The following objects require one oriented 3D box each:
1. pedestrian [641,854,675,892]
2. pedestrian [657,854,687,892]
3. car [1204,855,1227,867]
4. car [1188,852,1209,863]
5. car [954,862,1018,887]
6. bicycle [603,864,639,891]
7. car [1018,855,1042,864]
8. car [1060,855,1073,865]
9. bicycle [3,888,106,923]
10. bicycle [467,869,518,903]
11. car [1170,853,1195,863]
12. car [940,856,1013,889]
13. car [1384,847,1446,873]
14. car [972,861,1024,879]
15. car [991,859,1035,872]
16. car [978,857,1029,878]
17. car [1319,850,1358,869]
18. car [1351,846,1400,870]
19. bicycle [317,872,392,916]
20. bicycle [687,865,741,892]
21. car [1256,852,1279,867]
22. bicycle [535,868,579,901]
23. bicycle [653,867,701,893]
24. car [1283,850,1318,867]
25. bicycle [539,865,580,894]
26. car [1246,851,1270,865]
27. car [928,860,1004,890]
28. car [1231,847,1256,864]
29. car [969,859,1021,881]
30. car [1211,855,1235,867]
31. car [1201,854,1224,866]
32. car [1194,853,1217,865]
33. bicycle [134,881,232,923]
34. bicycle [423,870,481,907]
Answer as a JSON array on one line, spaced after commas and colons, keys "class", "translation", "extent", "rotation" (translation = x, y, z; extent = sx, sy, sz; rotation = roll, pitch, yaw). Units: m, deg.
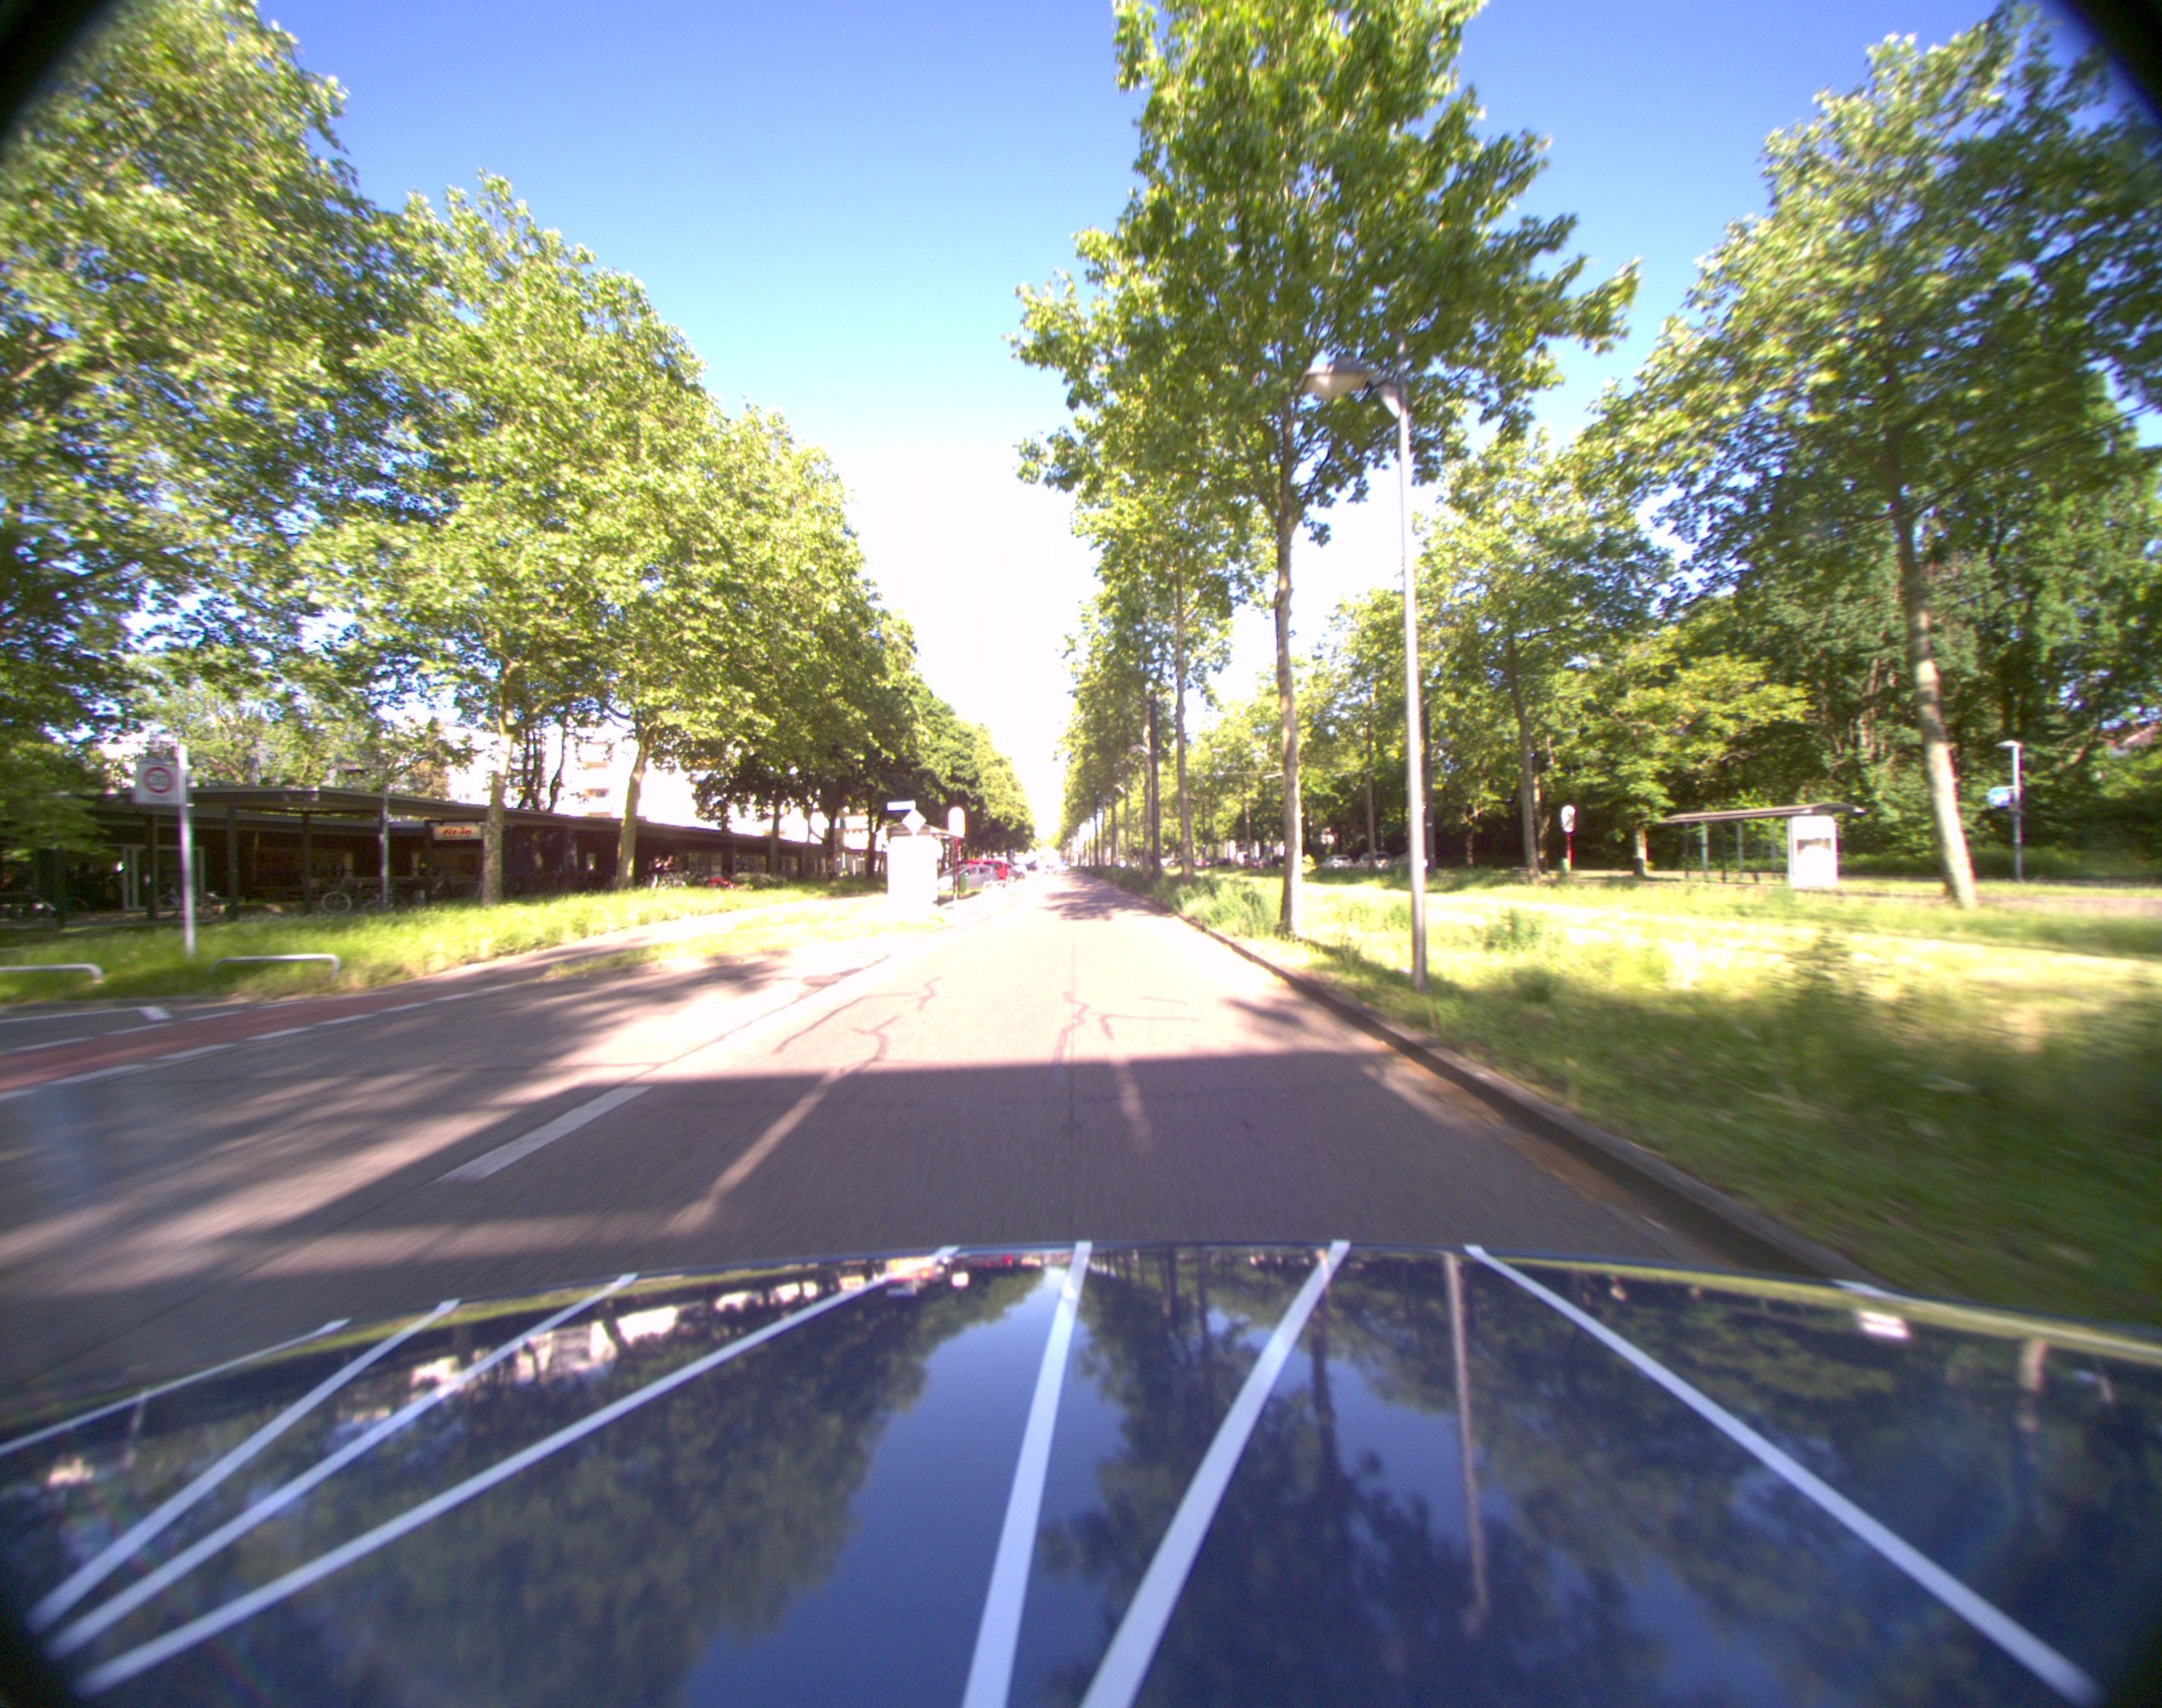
[{"class": "pedestrian", "translation": [-19.063, 0.845, 34.274], "extent": [1.131, 1.698, 0.732], "rotation": [-1, 1, -9]}, {"class": "pedestrian", "translation": [-20.057, 0.911, 37.289], "extent": [0.967, 1.830, 0.952], "rotation": [-1, 1, -9]}, {"class": "car", "translation": [20.261, 1.009, 114.253], "extent": [1.884, 1.558, 4.007], "rotation": [-2, 1, 35]}, {"class": "car", "translation": [20.701, 0.667, 133.784], "extent": [1.895, 1.699, 4.508], "rotation": [-2, 1, 35]}, {"class": "car", "translation": [-5.826, 1.235, 46.902], "extent": [3.635, 1.486, 1.677], "rotation": [0, 0, -44]}, {"class": "bicycle", "translation": [-22.208, 1.122, 36.720], "extent": [0.577, 1.246, 1.805], "rotation": [-3, 1, -1]}, {"class": "car", "translation": [-9.870, 1.024, 147.342], "extent": [1.894, 1.663, 4.510], "rotation": [0, 0, 42]}, {"class": "car", "translation": [-2.572, 1.111, 132.310], "extent": [1.897, 1.623, 4.502], "rotation": [-3, 0, 2]}, {"class": "bicycle", "translation": [-29.599, 1.488, 21.935], "extent": [1.806, 0.949, 0.710], "rotation": [1, 0, -7]}, {"class": "bicycle", "translation": [-23.297, 1.236, 30.110], "extent": [0.577, 1.246, 1.805], "rotation": [-3, 1, -1]}, {"class": "car", "translation": [19.979, 0.701, 149.676], "extent": [4.507, 1.699, 1.895], "rotation": [-3, 1, -33]}, {"class": "car", "translation": [-5.996, 1.035, 43.908], "extent": [1.763, 1.832, 3.960], "rotation": [0, 0, 45]}, {"class": "car", "translation": [21.910, 0.363, 50.032], "extent": [1.902, 1.480, 4.626], "rotation": [-5, 1, -1]}, {"class": "car", "translation": [-6.608, 1.259, 60.874], "extent": [1.681, 1.395, 4.096], "rotation": [0, 0, 42]}, {"class": "car", "translation": [-7.498, 1.218, 84.219], "extent": [1.994, 1.417, 4.686], "rotation": [0, 0, 42]}, {"class": "car", "translation": [-6.945, 1.198, 68.479], "extent": [4.311, 1.666, 1.862], "rotation": [-2, 0, -44]}, {"class": "car", "translation": [21.515, 0.444, 63.692], "extent": [1.723, 1.410, 4.023], "rotation": [-5, 0, -1]}, {"class": "car", "translation": [21.812, 0.261, 56.457], "extent": [1.820, 1.587, 4.189], "rotation": [-5, 1, -1]}, {"class": "bicycle", "translation": [-22.942, 1.230, 24.042], "extent": [0.577, 1.246, 1.805], "rotation": [-3, 1, -1]}, {"class": "bicycle", "translation": [-16.265, 1.080, 33.682], "extent": [2.073, 1.151, 0.561], "rotation": [0, 1, -10]}, {"class": "car", "translation": [20.705, 0.611, 84.555], "extent": [1.545, 1.480, 3.569], "rotation": [-5, 0, -1]}, {"class": "bicycle", "translation": [-21.916, 1.265, 31.814], "extent": [0.577, 1.246, 1.805], "rotation": [-3, 1, -1]}, {"class": "bicycle", "translation": [-18.410, 1.182, 34.630], "extent": [2.069, 1.151, 0.562], "rotation": [0, 1, 14]}, {"class": "car", "translation": [21.380, 0.414, 74.142], "extent": [1.843, 1.480, 4.178], "rotation": [-5, 0, -3]}, {"class": "bicycle", "translation": [-23.746, 1.144, 34.617], "extent": [0.577, 1.246, 1.805], "rotation": [-3, 1, -1]}, {"class": "car", "translation": [20.843, 0.492, 89.769], "extent": [1.754, 1.487, 3.816], "rotation": [-5, 1, -1]}, {"class": "car", "translation": [-6.029, 1.094, 40.123], "extent": [3.837, 1.464, 1.514], "rotation": [0, 0, -44]}, {"class": "car", "translation": [20.686, 0.176, 96.725], "extent": [1.987, 2.045, 4.277], "rotation": [-5, 1, -2]}, {"class": "car", "translation": [-6.476, 1.189, 57.258], "extent": [1.695, 1.581, 3.731], "rotation": [0, 0, 42]}, {"class": "car", "translation": [20.702, 1.015, 110.909], "extent": [1.884, 1.558, 4.007], "rotation": [-2, 1, 35]}, {"class": "car", "translation": [20.435, 0.964, 118.134], "extent": [1.884, 1.558, 4.007], "rotation": [-2, 1, 35]}, {"class": "car", "translation": [20.811, 0.794, 126.629], "extent": [1.895, 1.699, 4.508], "rotation": [-2, 1, 35]}, {"class": "bicycle", "translation": [-26.266, 1.390, 22.254], "extent": [1.806, 1.109, 0.710], "rotation": [-1, 2, -7]}, {"class": "bicycle", "translation": [-23.176, 1.249, 28.035], "extent": [0.577, 1.246, 1.805], "rotation": [-3, 1, -1]}]
